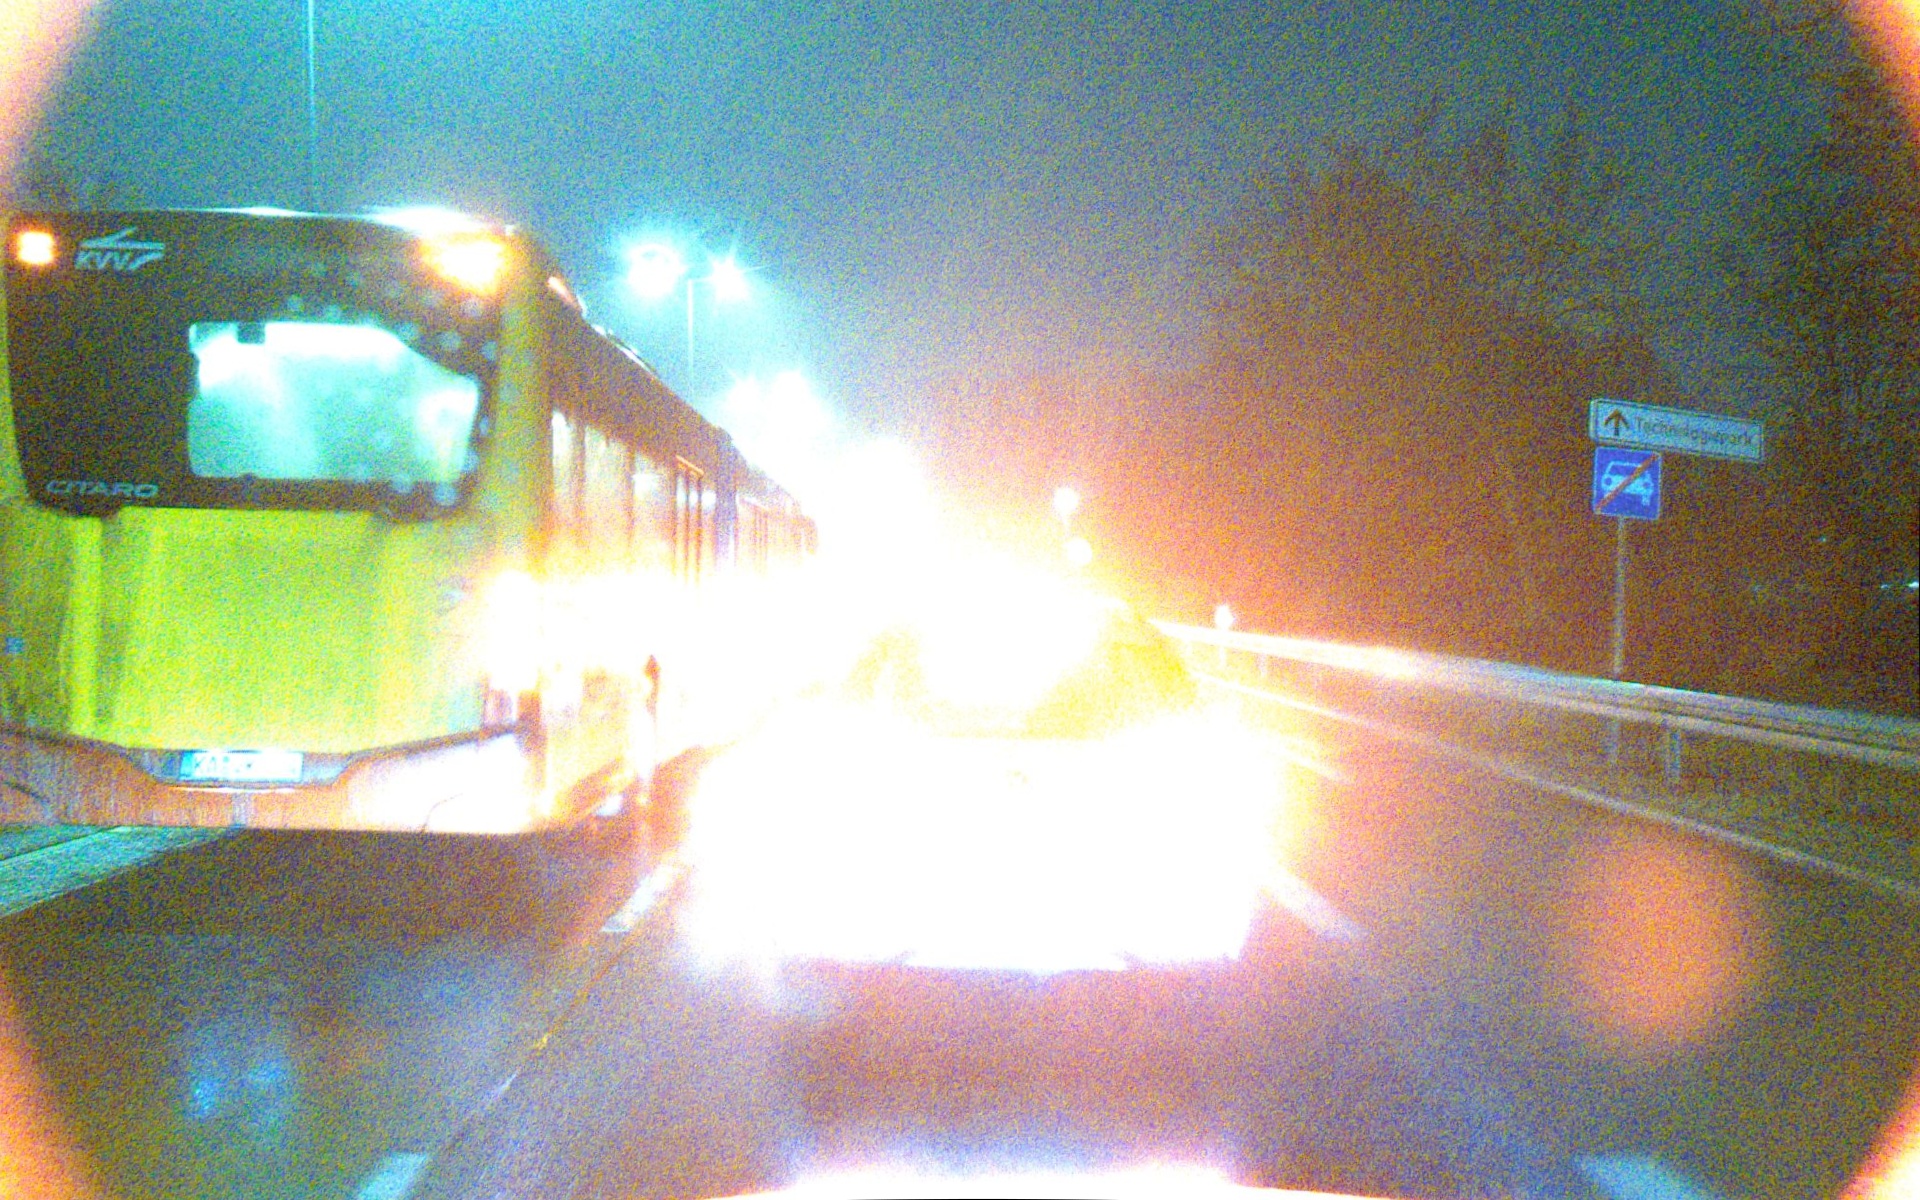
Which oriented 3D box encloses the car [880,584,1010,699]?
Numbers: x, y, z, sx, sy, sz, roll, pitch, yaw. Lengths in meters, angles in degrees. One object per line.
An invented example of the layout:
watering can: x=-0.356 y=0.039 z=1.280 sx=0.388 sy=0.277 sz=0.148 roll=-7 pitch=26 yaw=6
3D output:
car: x=-0.295 y=0.570 z=24.940 sx=1.705 sy=1.592 sz=3.773 roll=1 pitch=0 yaw=-4

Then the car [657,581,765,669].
car: x=-4.688 y=0.436 z=31.618 sx=1.744 sy=1.570 sz=3.871 roll=1 pitch=0 yaw=-4

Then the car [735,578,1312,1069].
car: x=0.121 y=0.677 z=7.409 sx=1.785 sy=1.510 sz=4.566 roll=0 pitch=0 yaw=-2

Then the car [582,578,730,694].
car: x=-4.438 y=0.479 z=24.610 sx=1.744 sy=1.570 sz=3.871 roll=1 pitch=0 yaw=-4

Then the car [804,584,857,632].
car: x=-4.426 y=0.267 z=56.585 sx=1.744 sy=1.570 sz=3.871 roll=1 pitch=0 yaw=-4

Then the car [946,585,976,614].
car: x=0.047 y=-0.028 z=109.979 sx=1.913 sy=1.915 sz=3.999 roll=1 pitch=0 yaw=-1

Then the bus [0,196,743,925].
bus: x=-3.258 y=-0.190 z=11.375 sx=2.759 sy=3.077 sz=8.682 roll=0 pitch=0 yaw=-3

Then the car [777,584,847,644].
car: x=-4.026 y=0.358 z=45.464 sx=1.744 sy=1.570 sz=3.872 roll=1 pitch=0 yaw=-3

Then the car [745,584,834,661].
car: x=-3.651 y=0.456 z=35.923 sx=1.744 sy=1.570 sz=3.872 roll=1 pitch=0 yaw=-3

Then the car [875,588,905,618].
car: x=-4.360 y=0.193 z=103.525 sx=1.779 sy=1.829 sz=3.802 roll=1 pitch=0 yaw=-1

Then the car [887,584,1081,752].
car: x=0.110 y=0.587 z=17.007 sx=1.697 sy=1.474 sz=4.722 roll=1 pitch=0 yaw=-3

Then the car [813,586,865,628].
car: x=-4.599 y=0.245 z=63.251 sx=1.743 sy=1.570 sz=3.874 roll=1 pitch=0 yaw=-1
